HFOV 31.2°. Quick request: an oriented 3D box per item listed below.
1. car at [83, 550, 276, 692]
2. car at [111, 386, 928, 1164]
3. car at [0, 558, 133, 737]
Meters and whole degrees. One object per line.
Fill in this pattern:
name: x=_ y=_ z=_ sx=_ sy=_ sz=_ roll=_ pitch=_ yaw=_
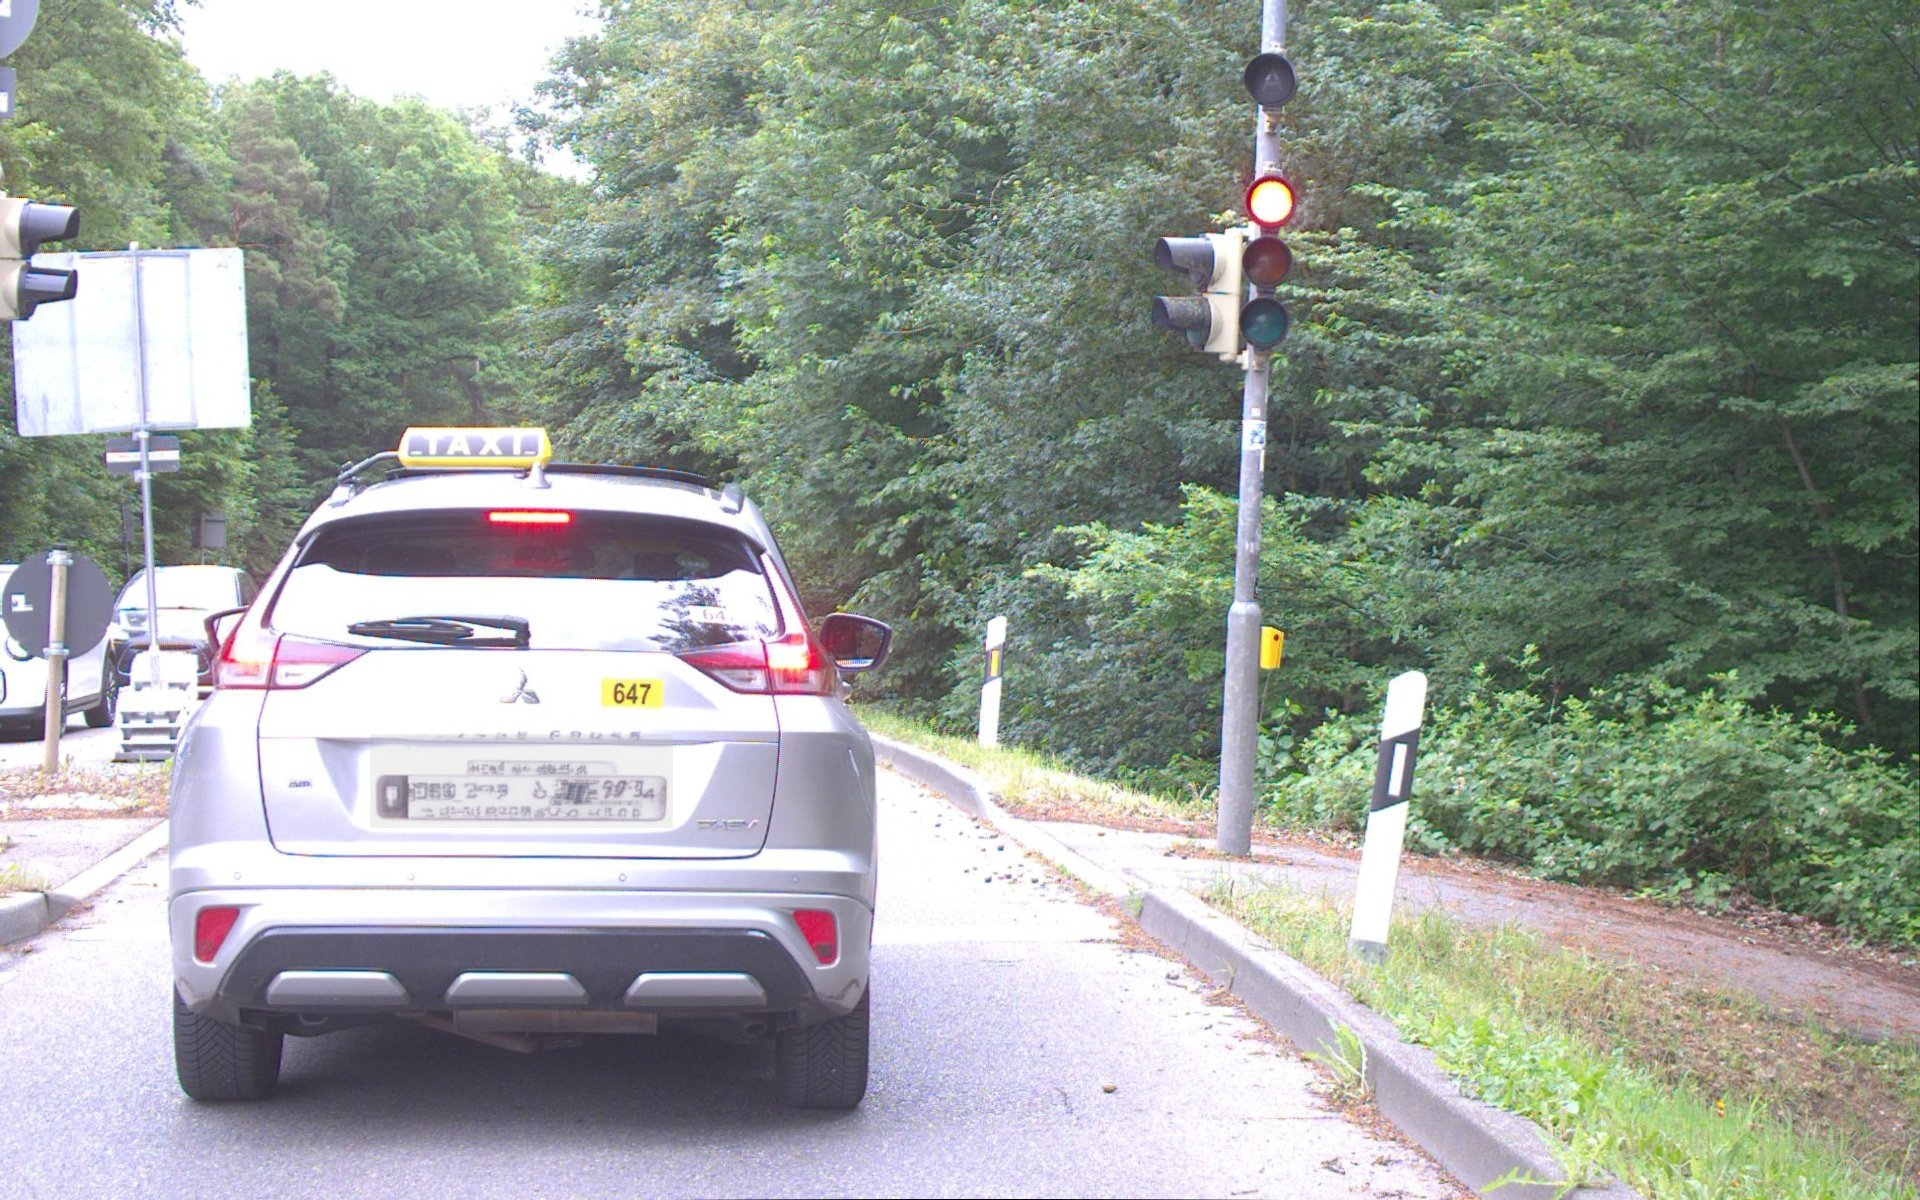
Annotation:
car: x=-8.907 y=0.214 z=39.482 sx=1.811 sy=1.503 sz=3.722 roll=-2 pitch=1 yaw=-8
car: x=-1.217 y=0.368 z=10.053 sx=1.846 sy=1.774 sz=4.001 roll=2 pitch=1 yaw=-6
car: x=-7.986 y=0.363 z=28.293 sx=1.612 sy=1.317 sz=3.722 roll=-2 pitch=2 yaw=-3
